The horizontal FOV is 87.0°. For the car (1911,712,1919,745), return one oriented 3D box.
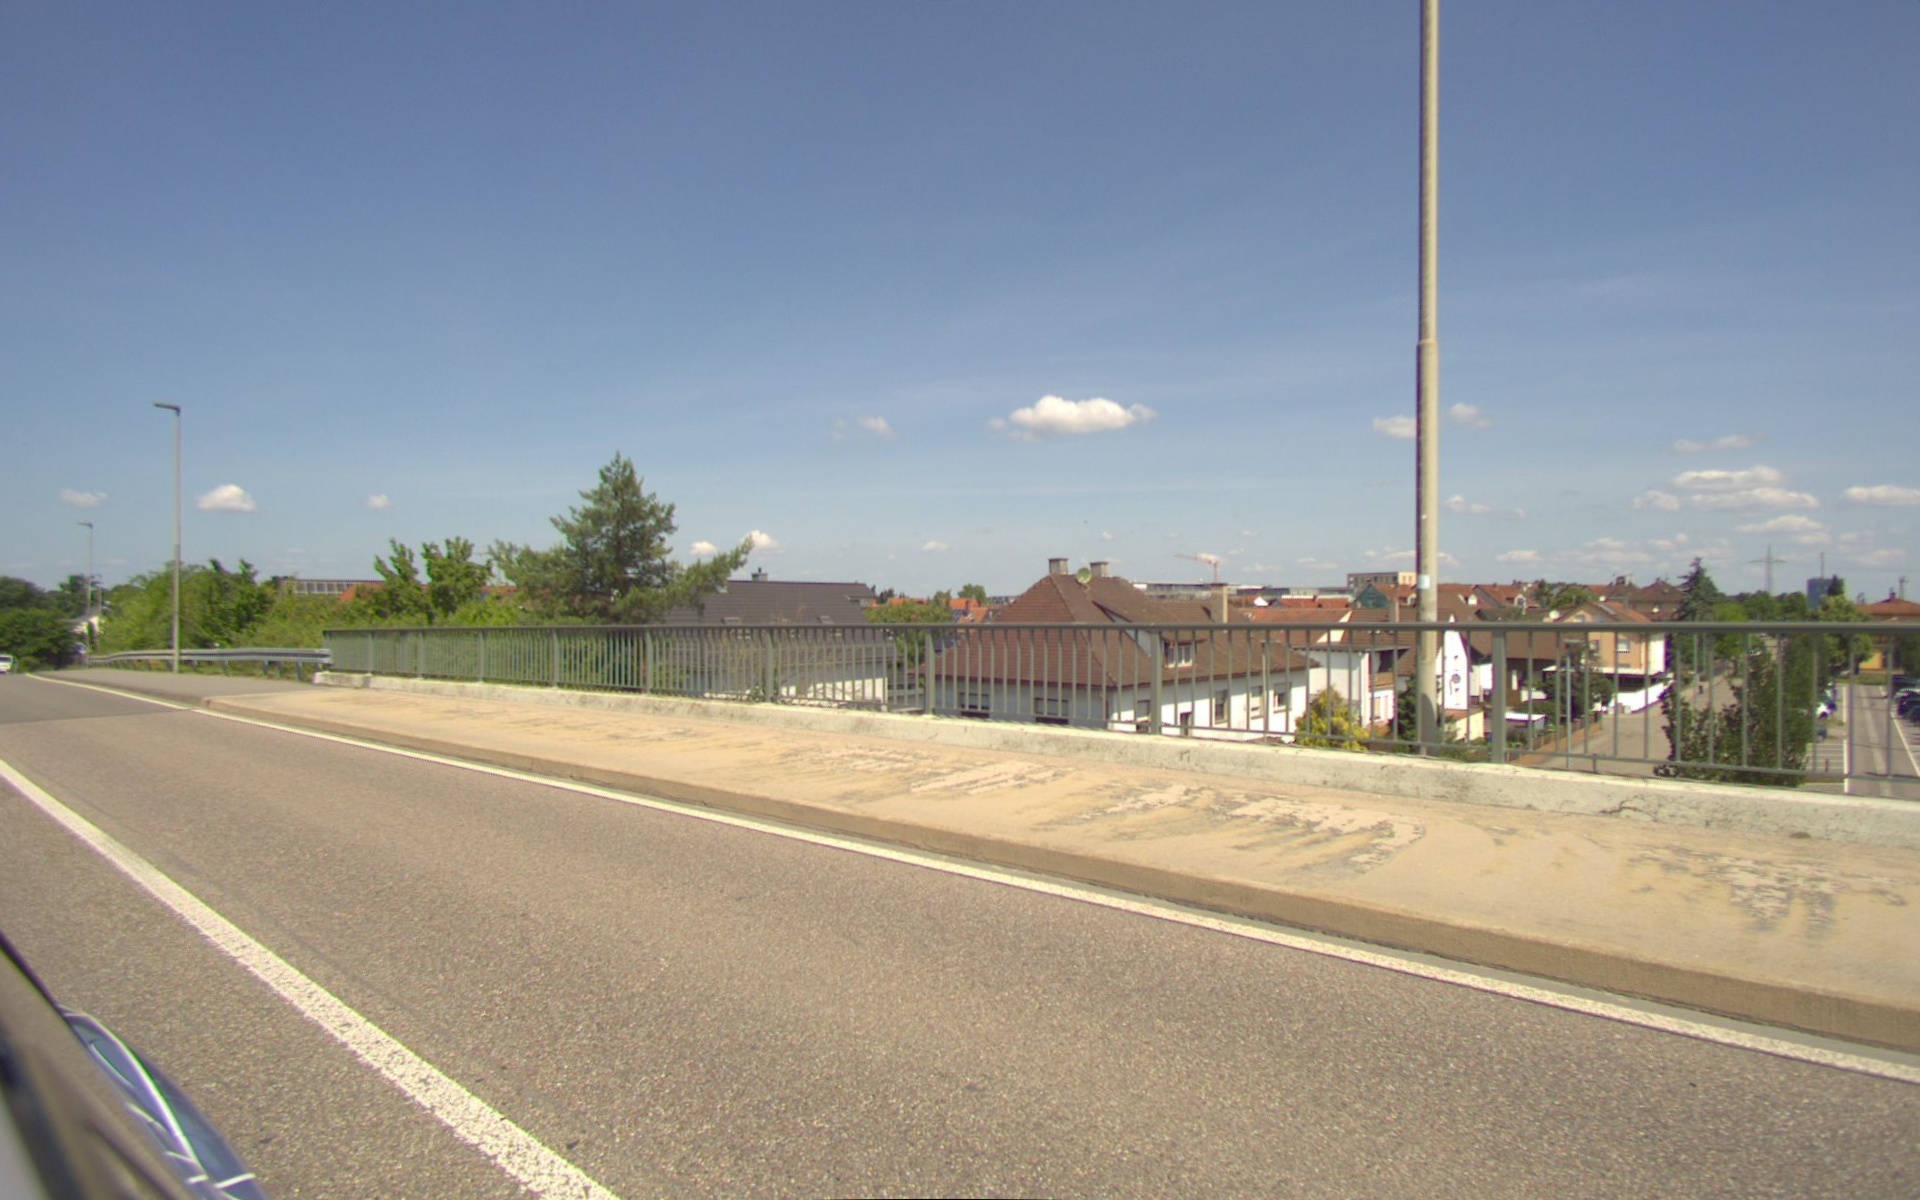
[{"bbox_3d":[64.855,8.586,65.799,1.969,2.028,4.007,-4,3,-6],"label":"car"}]

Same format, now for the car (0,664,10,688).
[{"bbox_3d":[-80.819,6.394,84.407,4.284,1.774,2.064,0,1,44],"label":"car"}]
